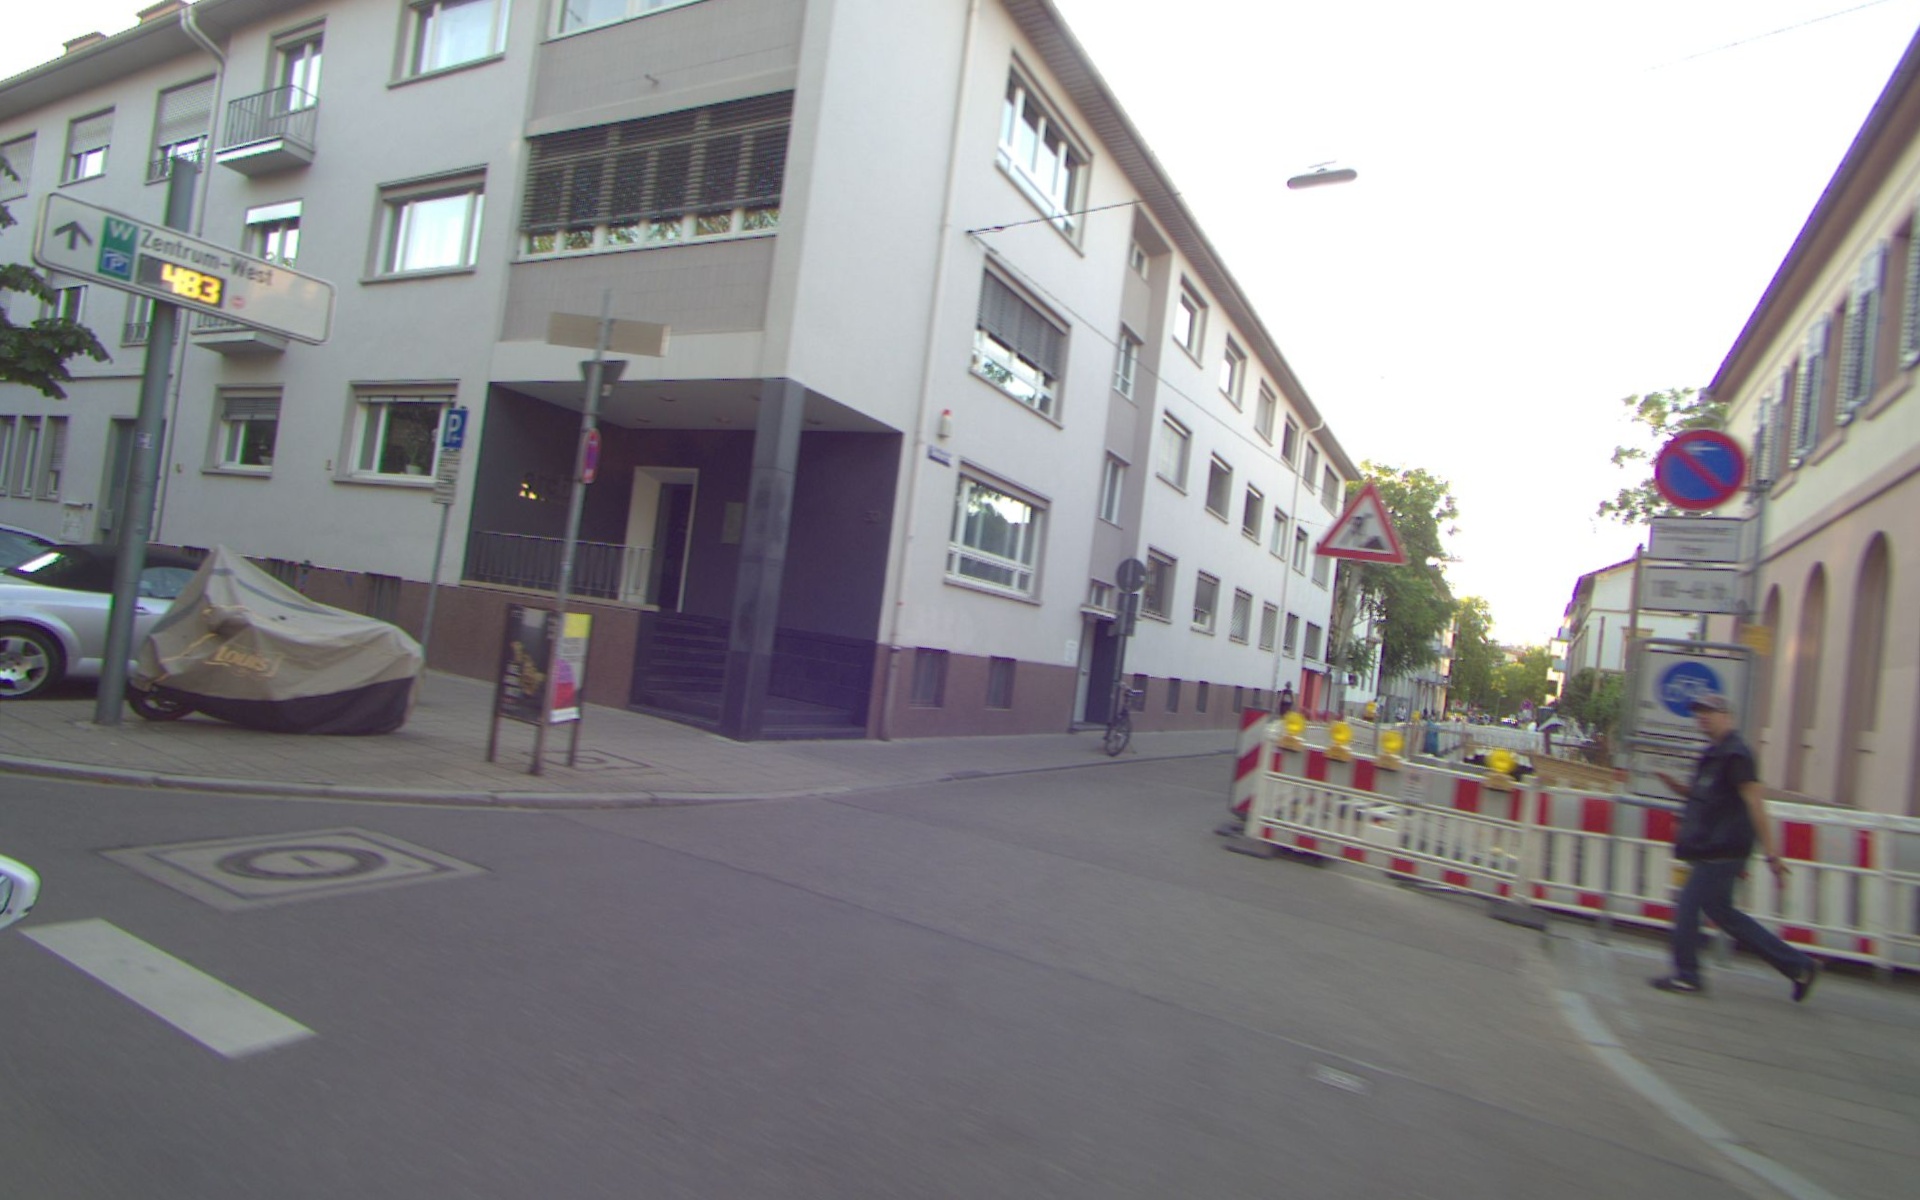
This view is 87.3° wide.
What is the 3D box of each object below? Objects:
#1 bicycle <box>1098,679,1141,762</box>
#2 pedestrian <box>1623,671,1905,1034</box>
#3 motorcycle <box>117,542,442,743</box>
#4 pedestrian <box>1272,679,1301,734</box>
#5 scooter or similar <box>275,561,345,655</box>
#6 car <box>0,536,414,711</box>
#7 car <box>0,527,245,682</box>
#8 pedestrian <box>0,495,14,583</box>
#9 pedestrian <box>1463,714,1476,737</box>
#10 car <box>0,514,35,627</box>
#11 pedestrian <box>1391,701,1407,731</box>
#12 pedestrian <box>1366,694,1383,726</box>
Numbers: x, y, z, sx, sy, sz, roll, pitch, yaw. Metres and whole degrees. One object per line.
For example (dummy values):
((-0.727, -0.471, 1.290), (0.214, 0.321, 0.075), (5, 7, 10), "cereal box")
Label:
((2.720, 2.031, 17.254), (0.523, 1.253, 1.798), (7, -2, 8), "bicycle")
((4.670, 1.397, 5.943), (1.047, 1.817, 0.698), (6, 0, 30), "pedestrian")
((-5.464, 0.380, 8.166), (0.986, 1.408, 1.905), (6, -2, 42), "motorcycle")
((10.592, 3.459, 32.629), (0.639, 1.672, 0.649), (6, -2, 30), "pedestrian")
((-9.672, 0.104, 14.961), (1.400, 1.253, 0.345), (6, -2, 40), "scooter or similar")
((-7.776, 0.248, 9.668), (1.765, 1.348, 3.994), (6, -2, 32), "car")
((-10.196, -0.039, 10.491), (1.764, 1.454, 3.997), (6, -2, 30), "car")
((-20.558, -1.332, 21.089), (0.866, 1.816, 0.698), (6, -1, 30), "pedestrian")
((38.374, 9.452, 75.767), (0.639, 1.672, 0.649), (6, -2, 30), "pedestrian")
((-15.700, -0.696, 13.671), (1.928, 1.636, 4.119), (6, -2, 30), "car")
((25.826, 6.848, 59.185), (0.639, 1.672, 0.649), (6, -2, 30), "pedestrian")
((22.797, 6.058, 55.297), (0.639, 1.672, 0.649), (6, -2, 30), "pedestrian")
